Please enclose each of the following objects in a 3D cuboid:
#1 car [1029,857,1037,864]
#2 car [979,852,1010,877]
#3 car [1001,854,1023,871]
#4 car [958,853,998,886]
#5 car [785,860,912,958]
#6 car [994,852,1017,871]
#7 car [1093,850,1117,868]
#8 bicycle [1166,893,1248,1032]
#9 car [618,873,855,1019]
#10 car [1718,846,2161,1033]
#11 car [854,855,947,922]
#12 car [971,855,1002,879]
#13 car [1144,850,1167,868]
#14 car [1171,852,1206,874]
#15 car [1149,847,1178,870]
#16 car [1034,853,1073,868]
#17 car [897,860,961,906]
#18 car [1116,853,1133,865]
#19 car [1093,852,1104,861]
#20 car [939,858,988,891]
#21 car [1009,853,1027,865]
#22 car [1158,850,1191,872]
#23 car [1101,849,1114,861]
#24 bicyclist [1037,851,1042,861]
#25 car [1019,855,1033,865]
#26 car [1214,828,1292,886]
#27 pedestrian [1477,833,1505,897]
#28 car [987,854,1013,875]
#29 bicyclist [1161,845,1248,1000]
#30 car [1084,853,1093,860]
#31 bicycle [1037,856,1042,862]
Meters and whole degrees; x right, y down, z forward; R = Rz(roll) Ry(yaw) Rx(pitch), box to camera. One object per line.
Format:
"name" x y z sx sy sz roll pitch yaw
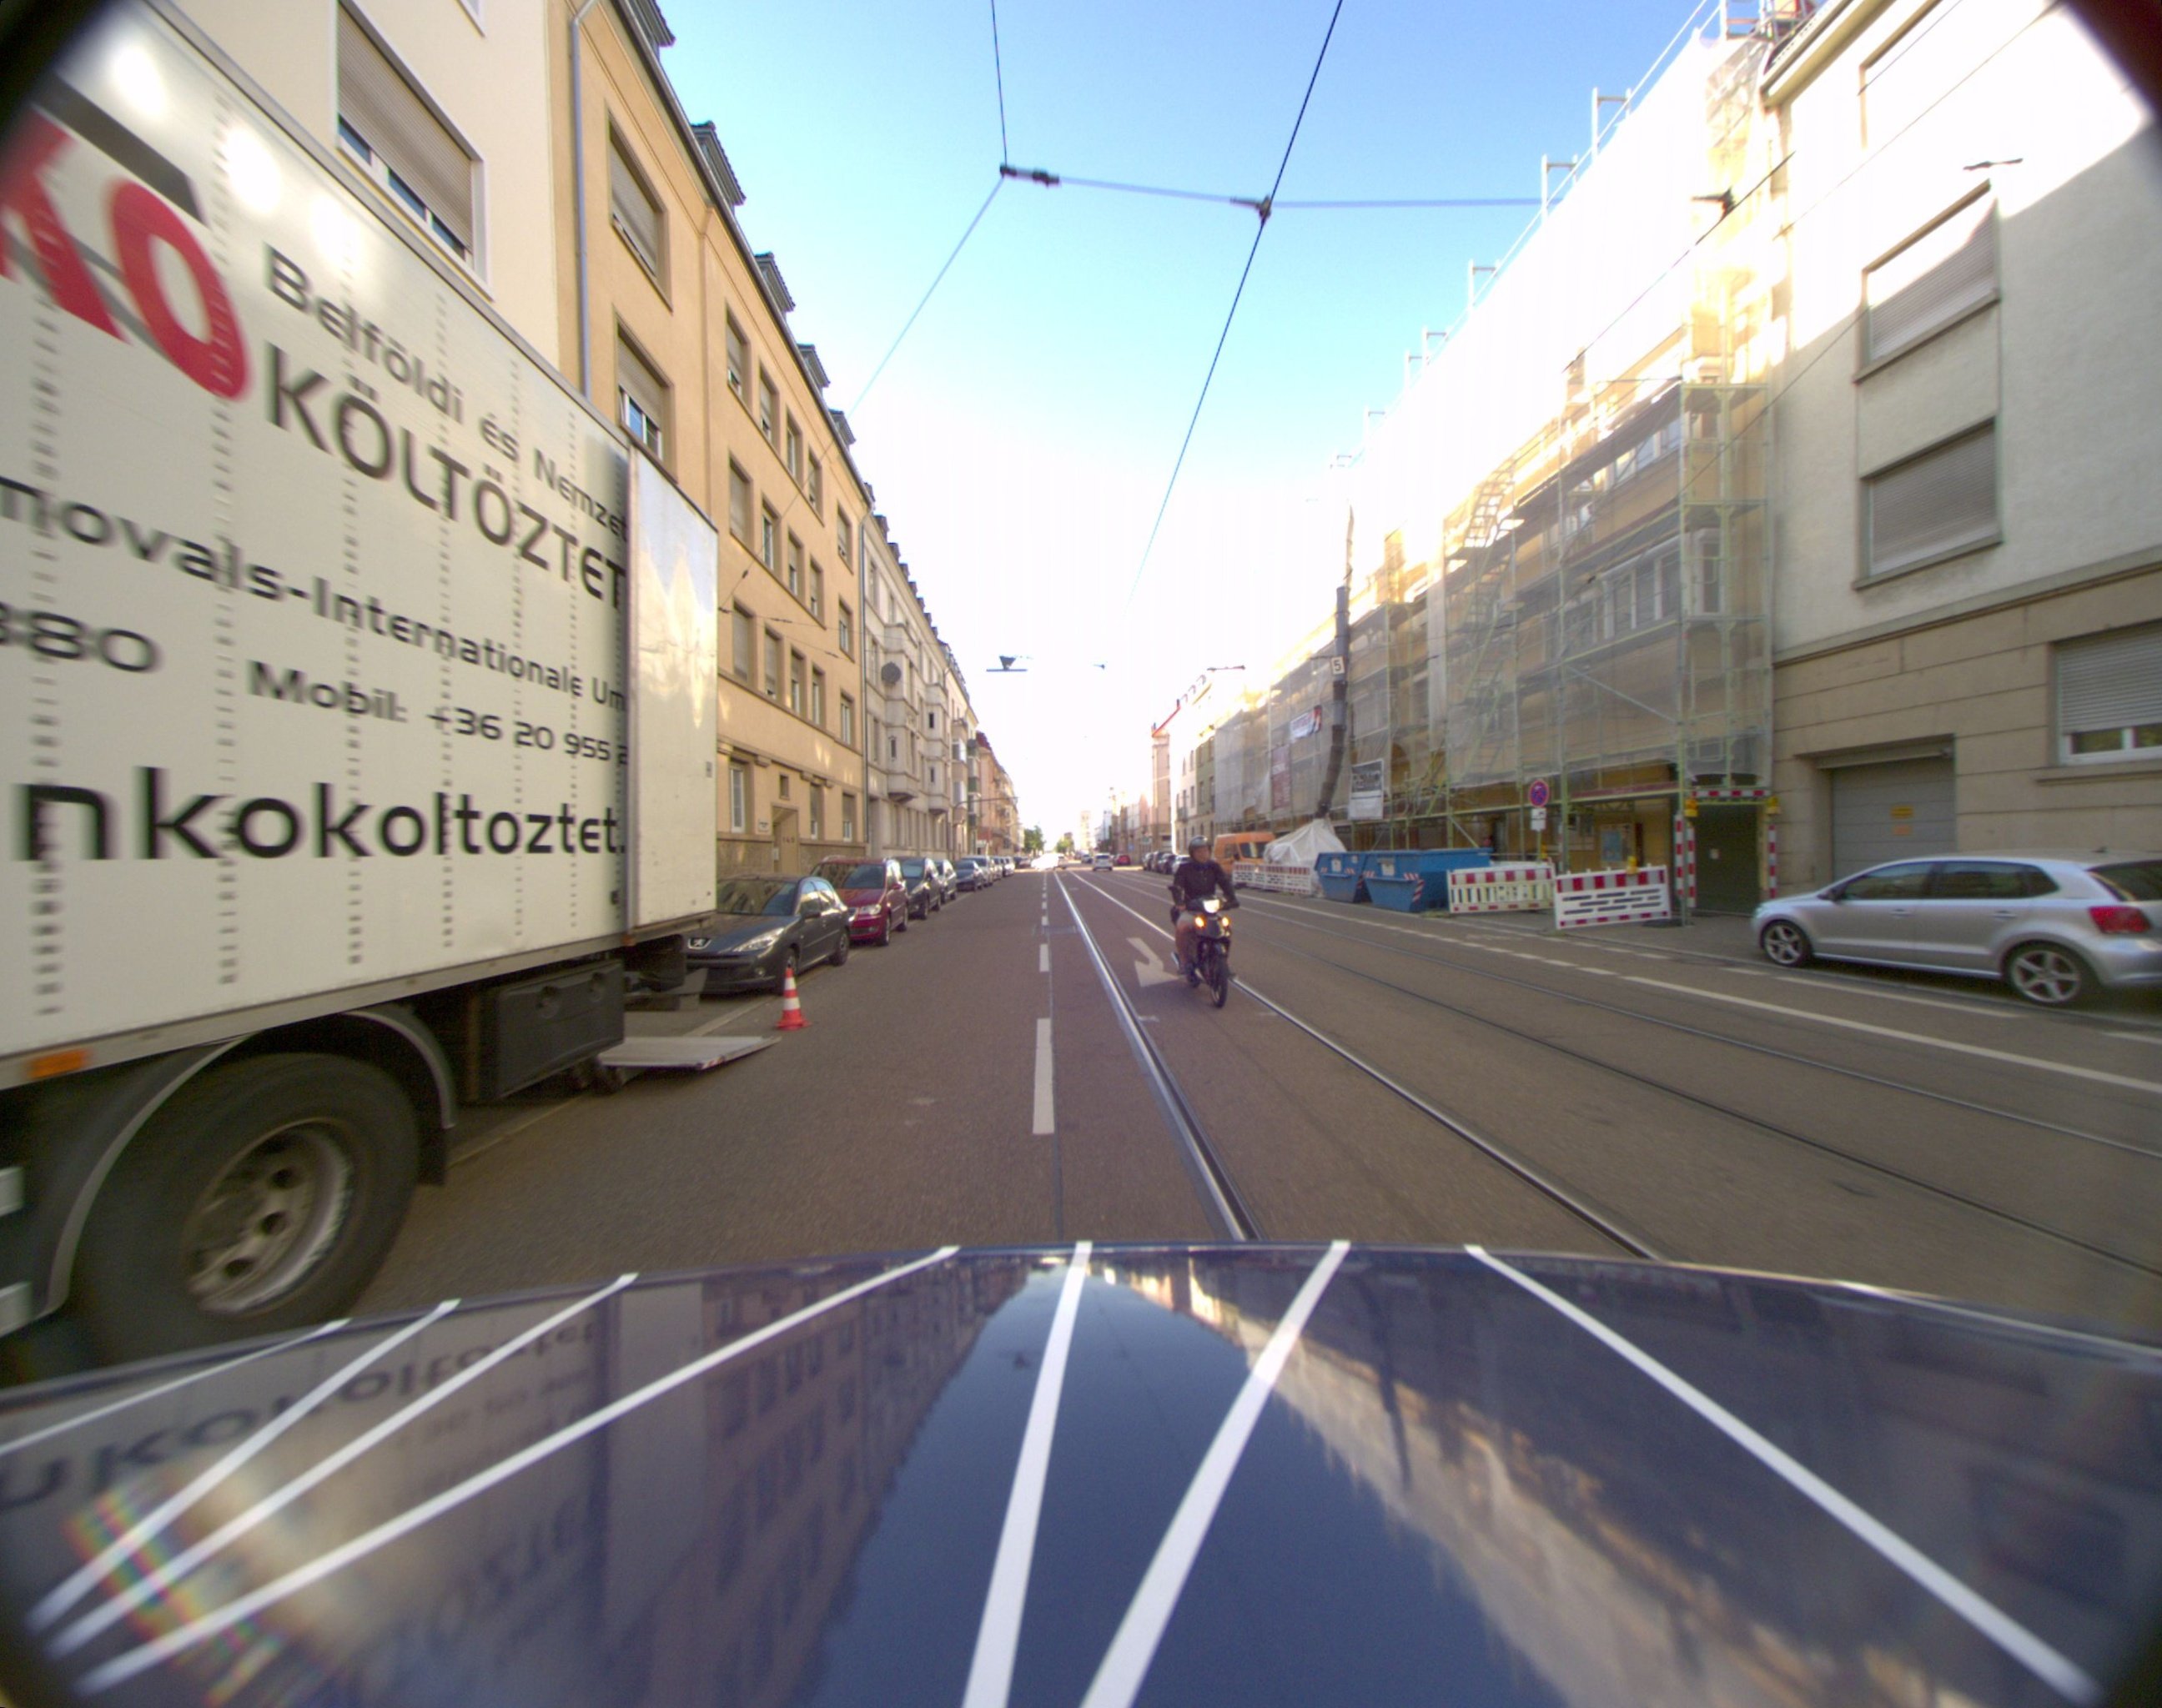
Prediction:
"car" -11.542 1.488 183.116 1.999 1.674 3.999 -1 0 -2
"car" -6.106 0.699 53.912 1.703 1.688 4.187 0 0 0
"car" -6.442 0.782 71.228 1.703 1.581 3.354 2 0 -1
"car" -5.574 0.782 41.604 1.713 1.683 4.588 0 0 -3
"car" -4.478 0.954 15.233 1.597 1.599 4.244 -2 0 -6
"car" -6.406 0.609 64.692 1.703 1.581 3.959 -1 0 -2
"car" 2.243 0.428 72.752 1.826 1.559 4.199 -3 0 -4
"bicycle" 1.331 1.057 8.049 0.740 1.170 1.975 -1 0 9
"car" -4.291 1.042 10.156 1.587 1.455 3.879 0 0 -3
"car" 9.599 0.696 8.343 1.704 1.407 3.998 -4 1 -2
"car" -4.895 0.874 21.170 1.795 1.642 4.365 0 0 -4
"car" -6.086 0.801 49.399 1.570 1.475 3.364 2 0 0
"car" 6.866 0.448 70.432 1.798 1.601 3.769 -1 0 1
"car" 7.517 0.585 53.407 1.751 1.502 3.999 -1 0 -2
"car" 7.043 0.344 65.434 1.799 1.836 3.768 -3 0 -3
"car" -3.023 0.659 83.595 4.281 1.598 1.776 0 1 45
"car" -5.201 0.948 26.340 1.613 1.454 3.479 0 0 -1
"car" 5.779 0.614 100.973 1.799 1.494 3.768 -3 0 -3
"car" 3.474 0.483 149.949 1.799 1.494 3.768 -3 0 -3
"car" -5.435 0.911 35.604 1.704 1.444 4.205 0 0 -1
"car" -7.890 0.624 95.275 1.999 1.412 3.726 -1 0 -2
"car" 7.267 0.521 59.479 1.702 1.569 4.221 -3 0 -3
"car" 4.518 0.139 131.463 1.999 2.002 3.999 -1 0 -3
"bicyclist" -6.590 0.309 120.860 0.744 1.481 0.816 -1 1 -2
"car" -9.044 1.010 125.249 1.999 1.630 3.999 -1 0 -2
"car" 7.903 0.120 35.628 2.125 2.455 5.998 -1 0 -2
"pedestrian" 11.199 0.295 20.755 0.581 1.684 0.718 -2 1 26
"car" -6.338 0.809 59.575 1.703 1.496 3.862 -1 0 -1
"bicyclist" 1.304 0.687 8.038 0.843 1.545 0.850 -1 1 9
"car" 1.771 0.576 174.018 1.799 1.494 3.768 -3 0 -3
"bicycle" -6.594 0.769 120.750 0.744 0.850 1.885 -1 0 -2
